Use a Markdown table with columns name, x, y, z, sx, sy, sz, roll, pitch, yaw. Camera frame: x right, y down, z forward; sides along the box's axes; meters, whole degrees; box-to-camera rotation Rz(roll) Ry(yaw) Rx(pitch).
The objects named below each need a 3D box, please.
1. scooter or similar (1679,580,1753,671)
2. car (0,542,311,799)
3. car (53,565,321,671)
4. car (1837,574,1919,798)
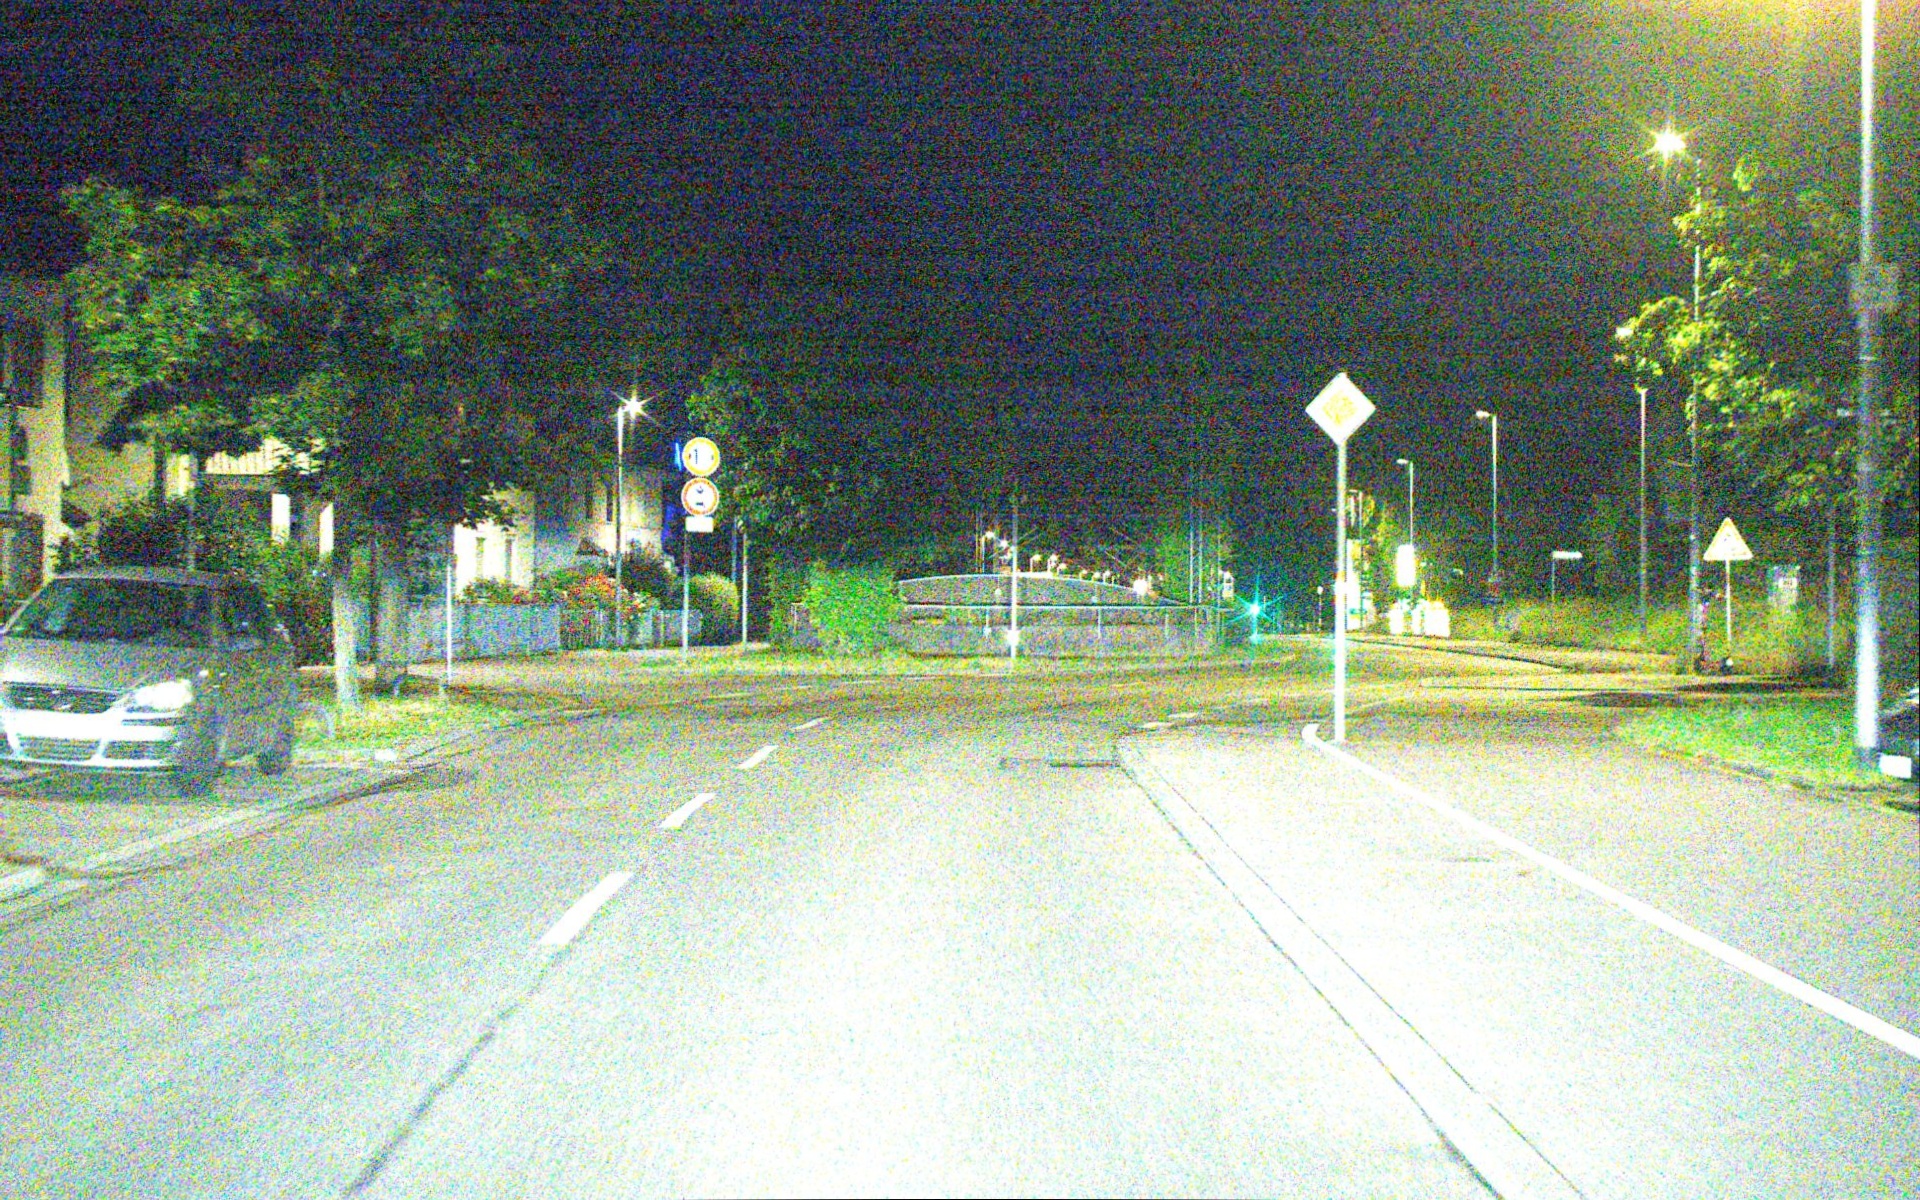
| name | x | y | z | sx | sy | sz | roll | pitch | yaw |
| --- | --- | --- | --- | --- | --- | --- | --- | --- | --- |
| scooter or similar | 10.869 | 0.357 | 49.480 | 0.611 | 1.277 | 1.690 | 1 | 0 | -2 |
| car | -5.632 | 0.413 | 23.499 | 1.672 | 1.585 | 3.987 | 1 | 1 | -1 |
| car | -12.087 | 0.277 | 53.826 | 3.716 | 1.621 | 1.781 | 0 | 0 | 19 |
| car | 7.013 | 0.604 | 19.765 | 3.391 | 1.227 | 1.724 | 5 | 1 | -2 |
